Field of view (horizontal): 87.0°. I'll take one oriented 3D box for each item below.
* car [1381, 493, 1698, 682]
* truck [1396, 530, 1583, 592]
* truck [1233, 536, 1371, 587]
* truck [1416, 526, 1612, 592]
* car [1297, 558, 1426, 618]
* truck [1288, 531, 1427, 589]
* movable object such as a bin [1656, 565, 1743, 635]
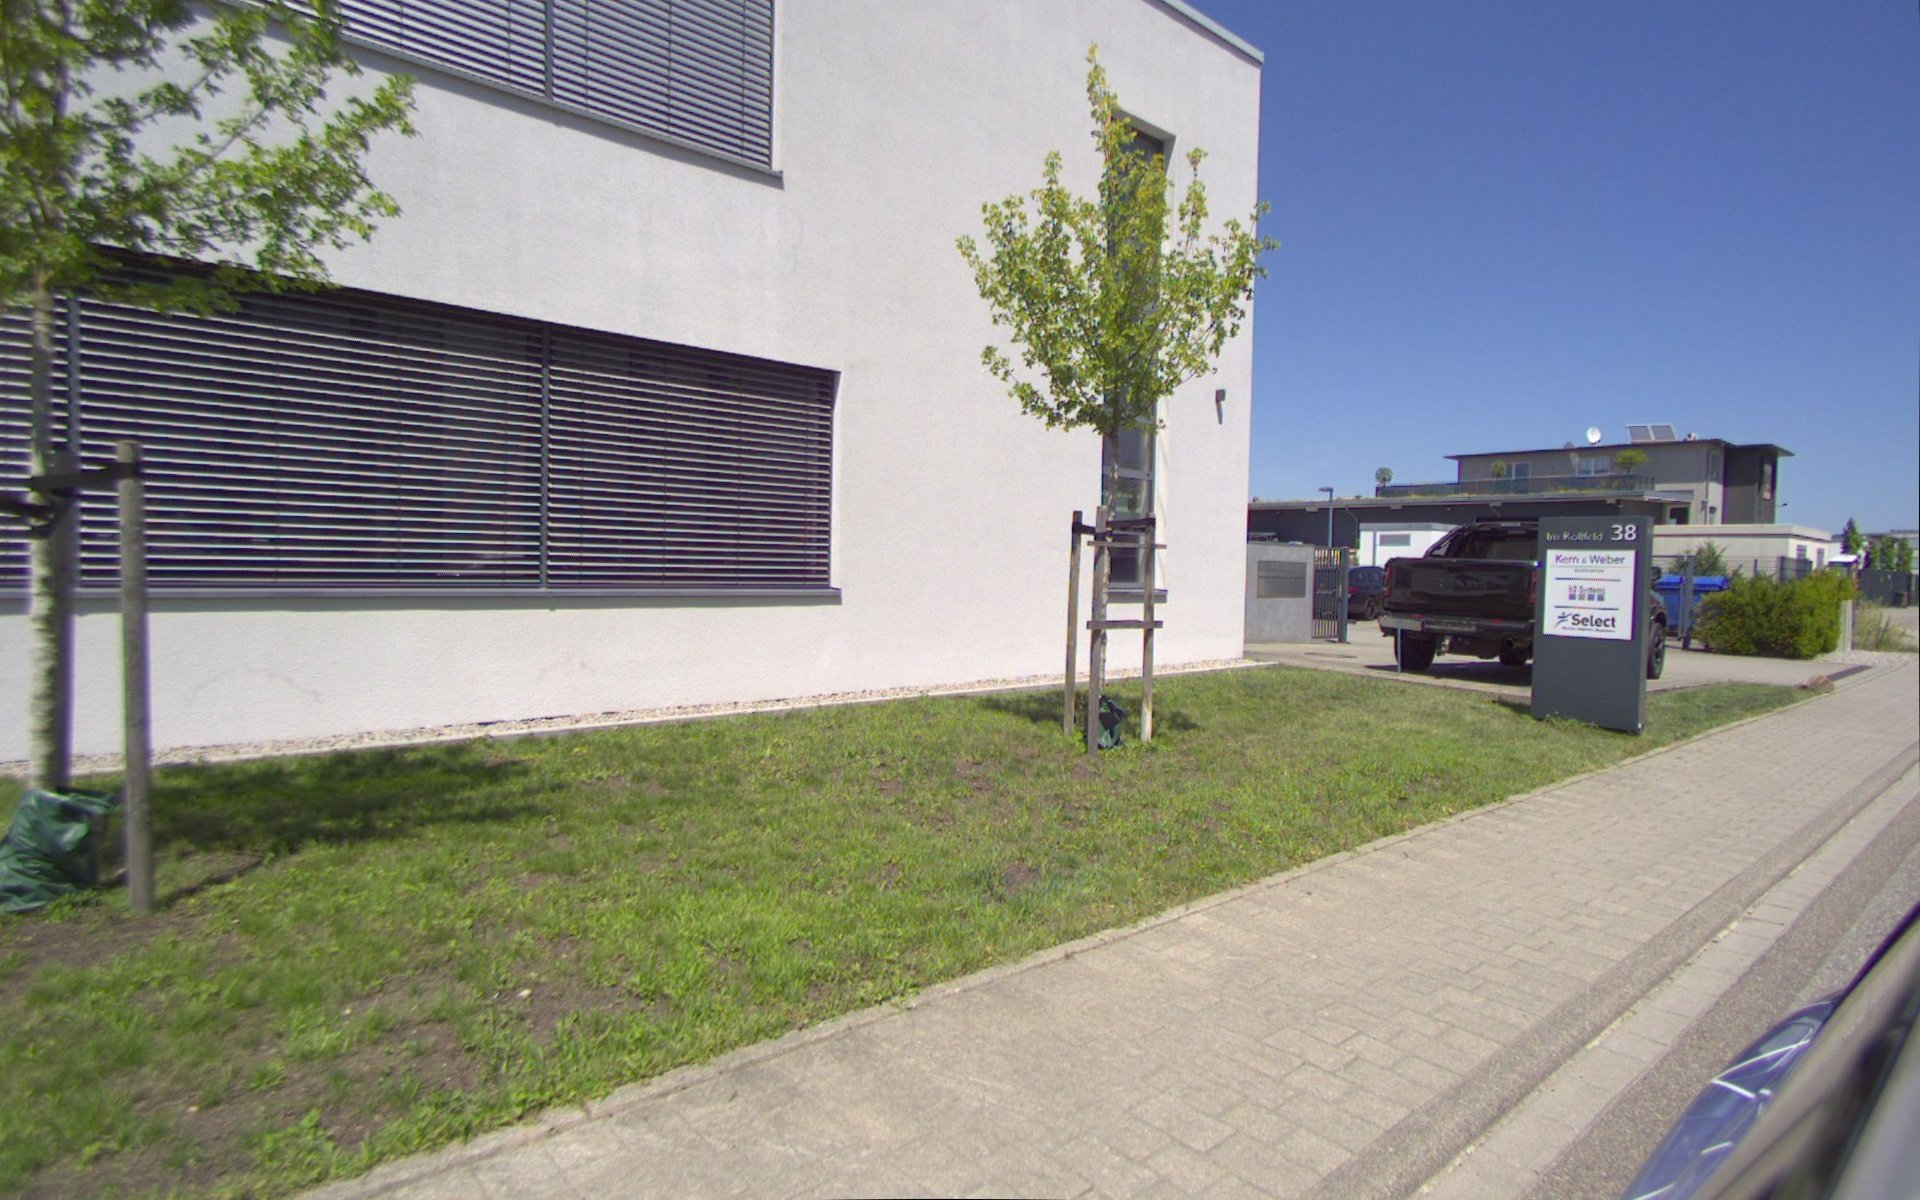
[{"bbox_3d":[7.976,-0.107,13.600,5.700,2.039,1.997,2,1,-42],"label":"car"},{"bbox_3d":[29.318,-2.170,56.493,2.642,3.216,8.964,-1,2,-40],"label":"truck"},{"bbox_3d":[21.972,-2.467,65.490,2.642,3.059,8.352,-1,2,-40],"label":"truck"},{"bbox_3d":[27.749,-2.052,51.118,2.579,3.059,8.352,-1,2,-40],"label":"truck"},{"bbox_3d":[11.586,-0.403,29.132,3.932,1.507,1.859,-3,4,-41],"label":"car"},{"bbox_3d":[22.330,-2.241,57.169,2.452,3.059,7.024,-1,2,-40],"label":"truck"},{"bbox_3d":[17.311,-0.015,23.711,1.150,1.541,1.386,0,3,-41],"label":"movable object such as a bin"}]
